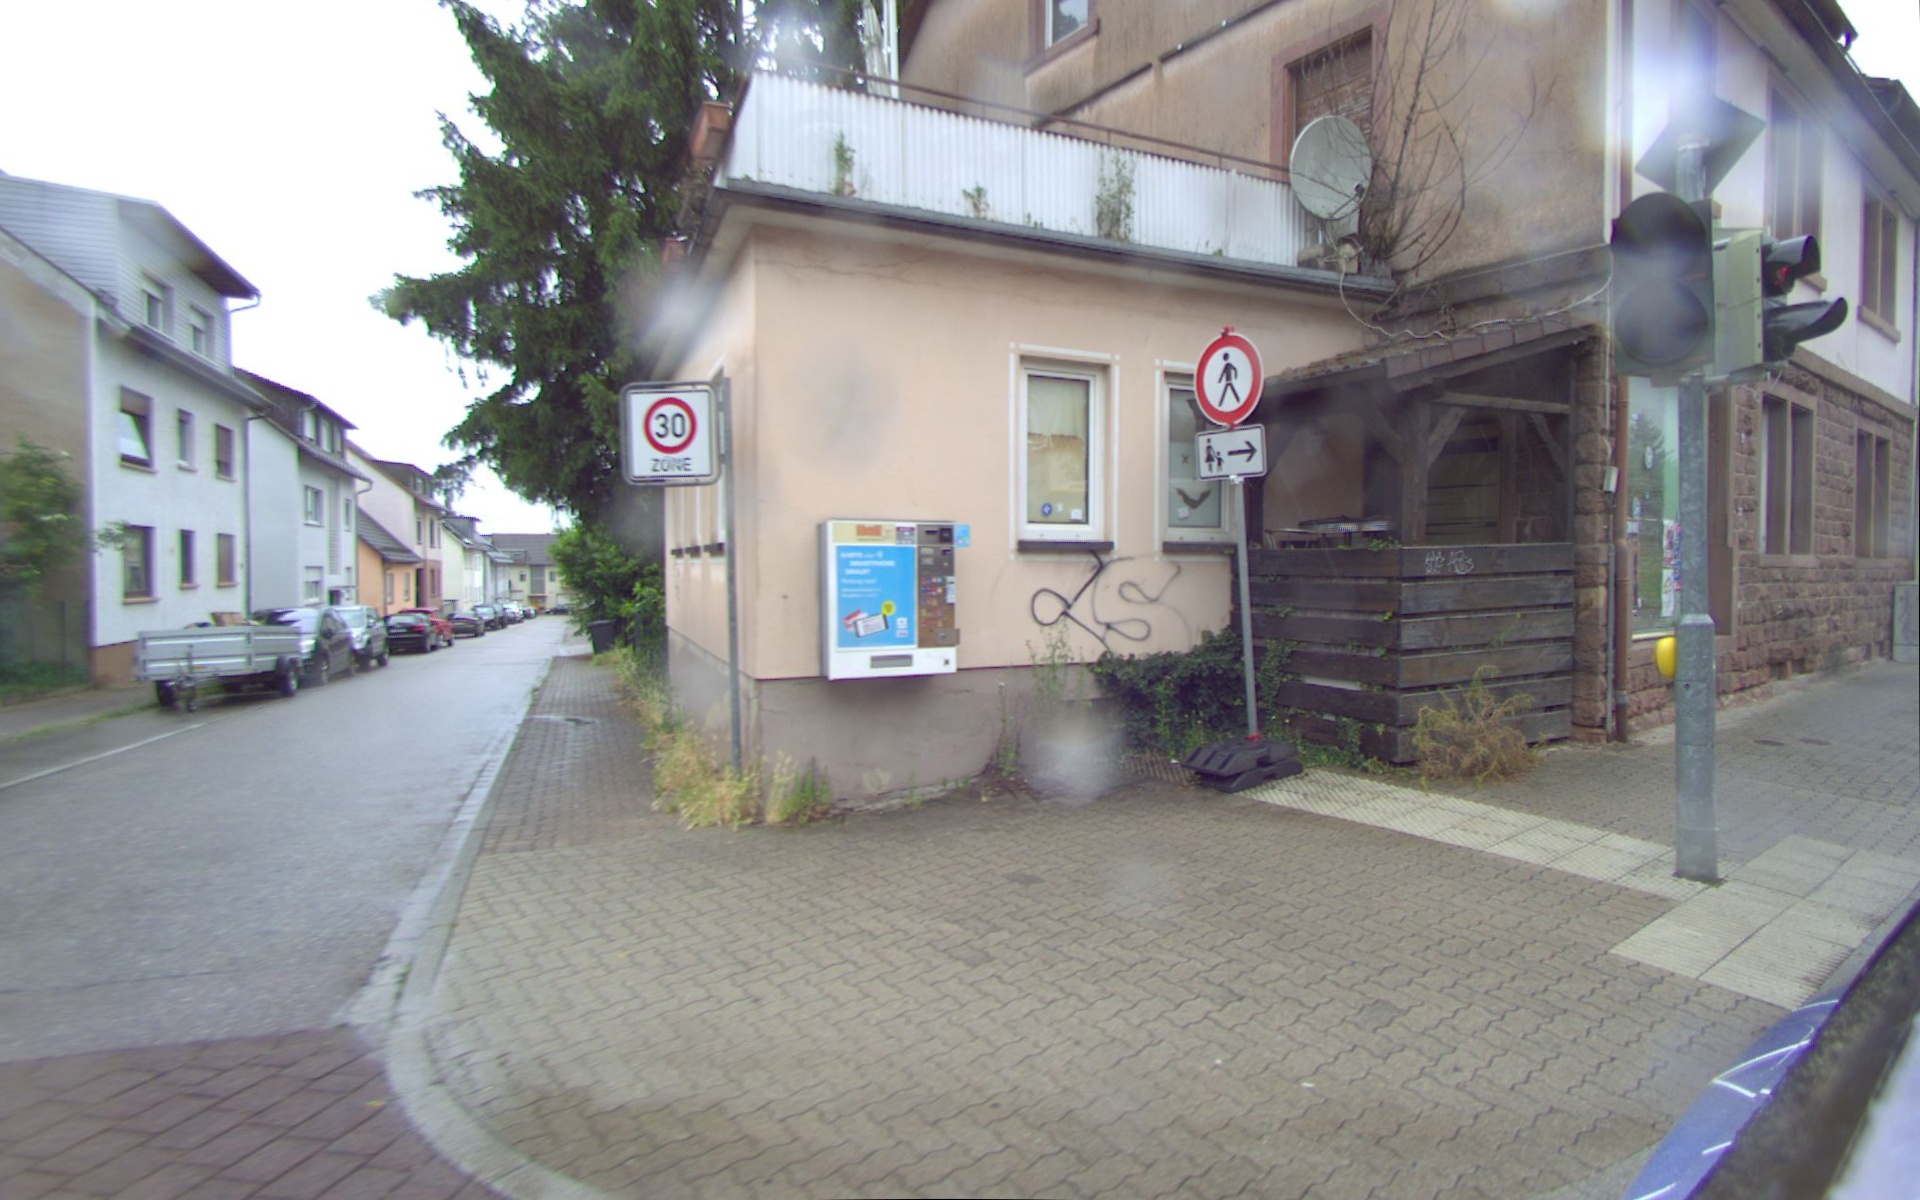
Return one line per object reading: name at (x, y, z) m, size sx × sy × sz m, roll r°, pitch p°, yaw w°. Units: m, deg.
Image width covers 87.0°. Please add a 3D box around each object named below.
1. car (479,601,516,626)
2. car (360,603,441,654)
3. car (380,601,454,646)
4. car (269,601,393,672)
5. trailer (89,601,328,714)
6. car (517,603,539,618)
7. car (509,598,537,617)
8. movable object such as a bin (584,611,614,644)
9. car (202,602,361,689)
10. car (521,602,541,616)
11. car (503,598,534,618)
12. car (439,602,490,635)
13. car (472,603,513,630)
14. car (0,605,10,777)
car at (-32.126, 0.929, 70.346) m, size 1.958 × 1.590 × 4.105 m, roll -2°, pitch 1°, yaw -20°
car at (-19.718, 0.942, 35.840) m, size 1.958 × 1.590 × 4.104 m, roll -2°, pitch 1°, yaw -22°
car at (-21.533, 0.897, 40.287) m, size 1.958 × 1.590 × 4.105 m, roll -2°, pitch 1°, yaw -20°
car at (-16.038, 0.864, 26.017) m, size 1.958 × 1.590 × 4.104 m, roll -2°, pitch 1°, yaw -22°
trailer at (-12.674, 0.862, 17.456) m, size 1.962 × 1.586 × 4.556 m, roll -2°, pitch 1°, yaw -19°
car at (-48.861, 1.206, 114.442) m, size 1.958 × 1.590 × 4.105 m, roll -2°, pitch 1°, yaw -20°
car at (-38.937, 0.671, 90.191) m, size 1.958 × 1.590 × 4.105 m, roll -2°, pitch 1°, yaw -20°
movable object such as a bin at (-9.380, 0.711, 26.294) m, size 0.685 × 0.775 × 0.745 m, roll -2°, pitch 1°, yaw -18°
car at (-14.299, 0.872, 21.594) m, size 1.958 × 1.590 × 4.104 m, roll -2°, pitch 1°, yaw -22°
car at (-51.998, 1.048, 122.828) m, size 1.958 × 1.590 × 4.105 m, roll -2°, pitch 1°, yaw -20°
car at (-36.574, 0.652, 83.916) m, size 1.958 × 1.590 × 4.105 m, roll -2°, pitch 1°, yaw -20°
car at (-26.094, 0.952, 53.414) m, size 1.958 × 1.590 × 4.105 m, roll -2°, pitch 1°, yaw -20°
car at (-30.042, 1.024, 65.099) m, size 1.958 × 1.590 × 4.105 m, roll -2°, pitch 1°, yaw -20°
car at (-8.489, 0.826, 6.727) m, size 1.755 × 1.489 × 4.008 m, roll -2°, pitch 1°, yaw -21°
